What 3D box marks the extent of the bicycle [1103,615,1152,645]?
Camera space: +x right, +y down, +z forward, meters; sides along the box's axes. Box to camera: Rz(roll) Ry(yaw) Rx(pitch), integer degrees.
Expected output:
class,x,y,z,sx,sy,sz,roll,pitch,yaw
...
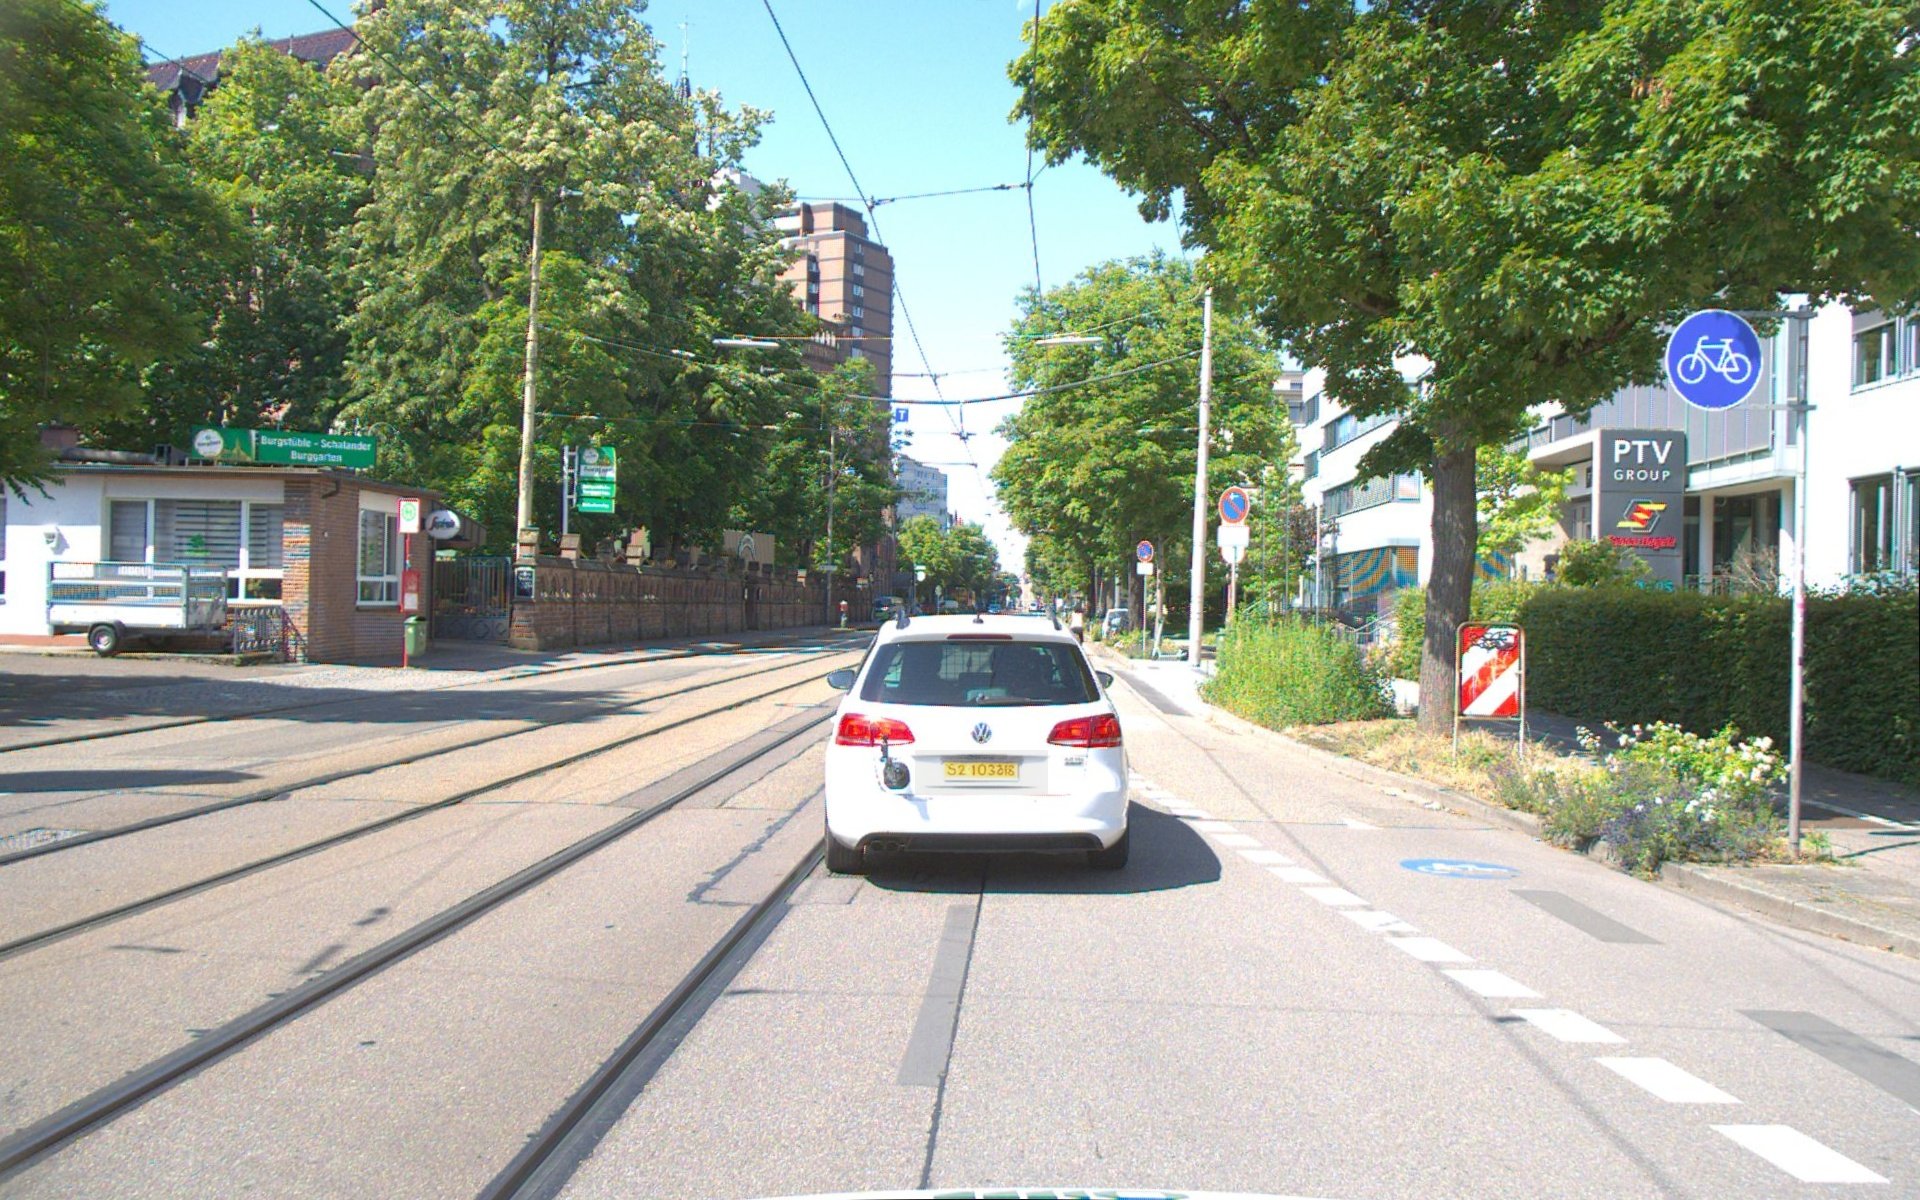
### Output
class,x,y,z,sx,sy,sz,roll,pitch,yaw
bicycle,6.745,1.212,66.624,1.872,1.101,0.551,4,0,0

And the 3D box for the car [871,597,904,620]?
class,x,y,z,sx,sy,sz,roll,pitch,yaw
car,-5.724,0.679,130.621,1.951,1.788,4.714,1,0,5

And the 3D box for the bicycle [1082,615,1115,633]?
class,x,y,z,sx,sy,sz,roll,pitch,yaw
bicycle,7.757,1.347,92.547,1.751,1.028,0.488,1,-1,-2

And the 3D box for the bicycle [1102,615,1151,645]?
class,x,y,z,sx,sy,sz,roll,pitch,yaw
bicycle,6.752,1.221,67.237,1.872,1.101,0.551,4,0,0

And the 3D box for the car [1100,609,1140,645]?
class,x,y,z,sx,sy,sz,roll,pitch,yaw
car,6.929,1.143,71.847,1.557,1.476,3.947,1,0,3

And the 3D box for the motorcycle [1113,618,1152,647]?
class,x,y,z,sx,sy,sz,roll,pitch,yaw
motorcycle,6.599,1.248,63.183,1.435,1.064,0.534,1,0,0

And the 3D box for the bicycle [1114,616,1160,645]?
class,x,y,z,sx,sy,sz,roll,pitch,yaw
bicycle,6.923,1.193,64.767,1.737,1.139,0.596,1,0,0

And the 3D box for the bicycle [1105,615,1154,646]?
class,x,y,z,sx,sy,sz,roll,pitch,yaw
bicycle,6.757,1.217,66.023,1.872,1.101,0.551,3,0,0

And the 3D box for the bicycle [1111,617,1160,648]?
class,x,y,z,sx,sy,sz,roll,pitch,yaw
bicycle,6.470,1.192,61.034,1.737,1.102,0.596,1,0,0

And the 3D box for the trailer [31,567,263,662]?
class,x,y,z,sx,sy,sz,roll,pitch,yaw
trailer,-14.265,0.249,29.124,3.148,1.552,1.778,1,0,4

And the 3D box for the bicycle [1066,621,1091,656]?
class,x,y,z,sx,sy,sz,roll,pitch,yaw
bicycle,3.916,1.252,54.719,0.794,1.097,2.013,1,0,3

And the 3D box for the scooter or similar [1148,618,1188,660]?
class,x,y,z,sx,sy,sz,roll,pitch,yaw
scooter or similar,6.057,1.137,48.090,1.118,1.174,0.493,1,0,9

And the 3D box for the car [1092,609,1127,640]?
class,x,y,z,sx,sy,sz,roll,pitch,yaw
car,7.542,1.219,83.799,1.629,1.469,4.635,1,0,3

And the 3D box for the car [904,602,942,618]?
class,x,y,z,sx,sy,sz,roll,pitch,yaw
car,-4.282,1.184,191.184,4.054,1.557,1.922,3,0,-19

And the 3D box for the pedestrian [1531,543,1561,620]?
class,x,y,z,sx,sy,sz,roll,pitch,yaw
pedestrian,13.608,-0.430,38.442,0.488,1.758,0.547,1,-1,2

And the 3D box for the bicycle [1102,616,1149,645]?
class,x,y,z,sx,sy,sz,roll,pitch,yaw
bicycle,6.796,1.240,67.878,1.847,1.101,0.551,3,0,0

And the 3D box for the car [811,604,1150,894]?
class,x,y,z,sx,sy,sz,roll,pitch,yaw
car,0.162,0.764,10.629,1.717,1.467,4.413,0,0,1

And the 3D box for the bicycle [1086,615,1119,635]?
class,x,y,z,sx,sy,sz,roll,pitch,yaw
bicycle,7.758,1.356,90.111,1.751,1.028,0.488,1,-1,-2

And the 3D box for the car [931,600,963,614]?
class,x,y,z,sx,sy,sz,roll,pitch,yaw
car,-1.759,0.917,224.715,3.950,1.847,1.977,1,0,-33

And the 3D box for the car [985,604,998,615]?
class,x,y,z,sx,sy,sz,roll,pitch,yaw
car,4.108,1.277,214.839,1.462,1.409,3.644,1,0,4

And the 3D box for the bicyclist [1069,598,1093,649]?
class,x,y,z,sx,sy,sz,roll,pitch,yaw
bicyclist,3.998,0.762,54.695,0.769,1.657,0.738,1,1,3
